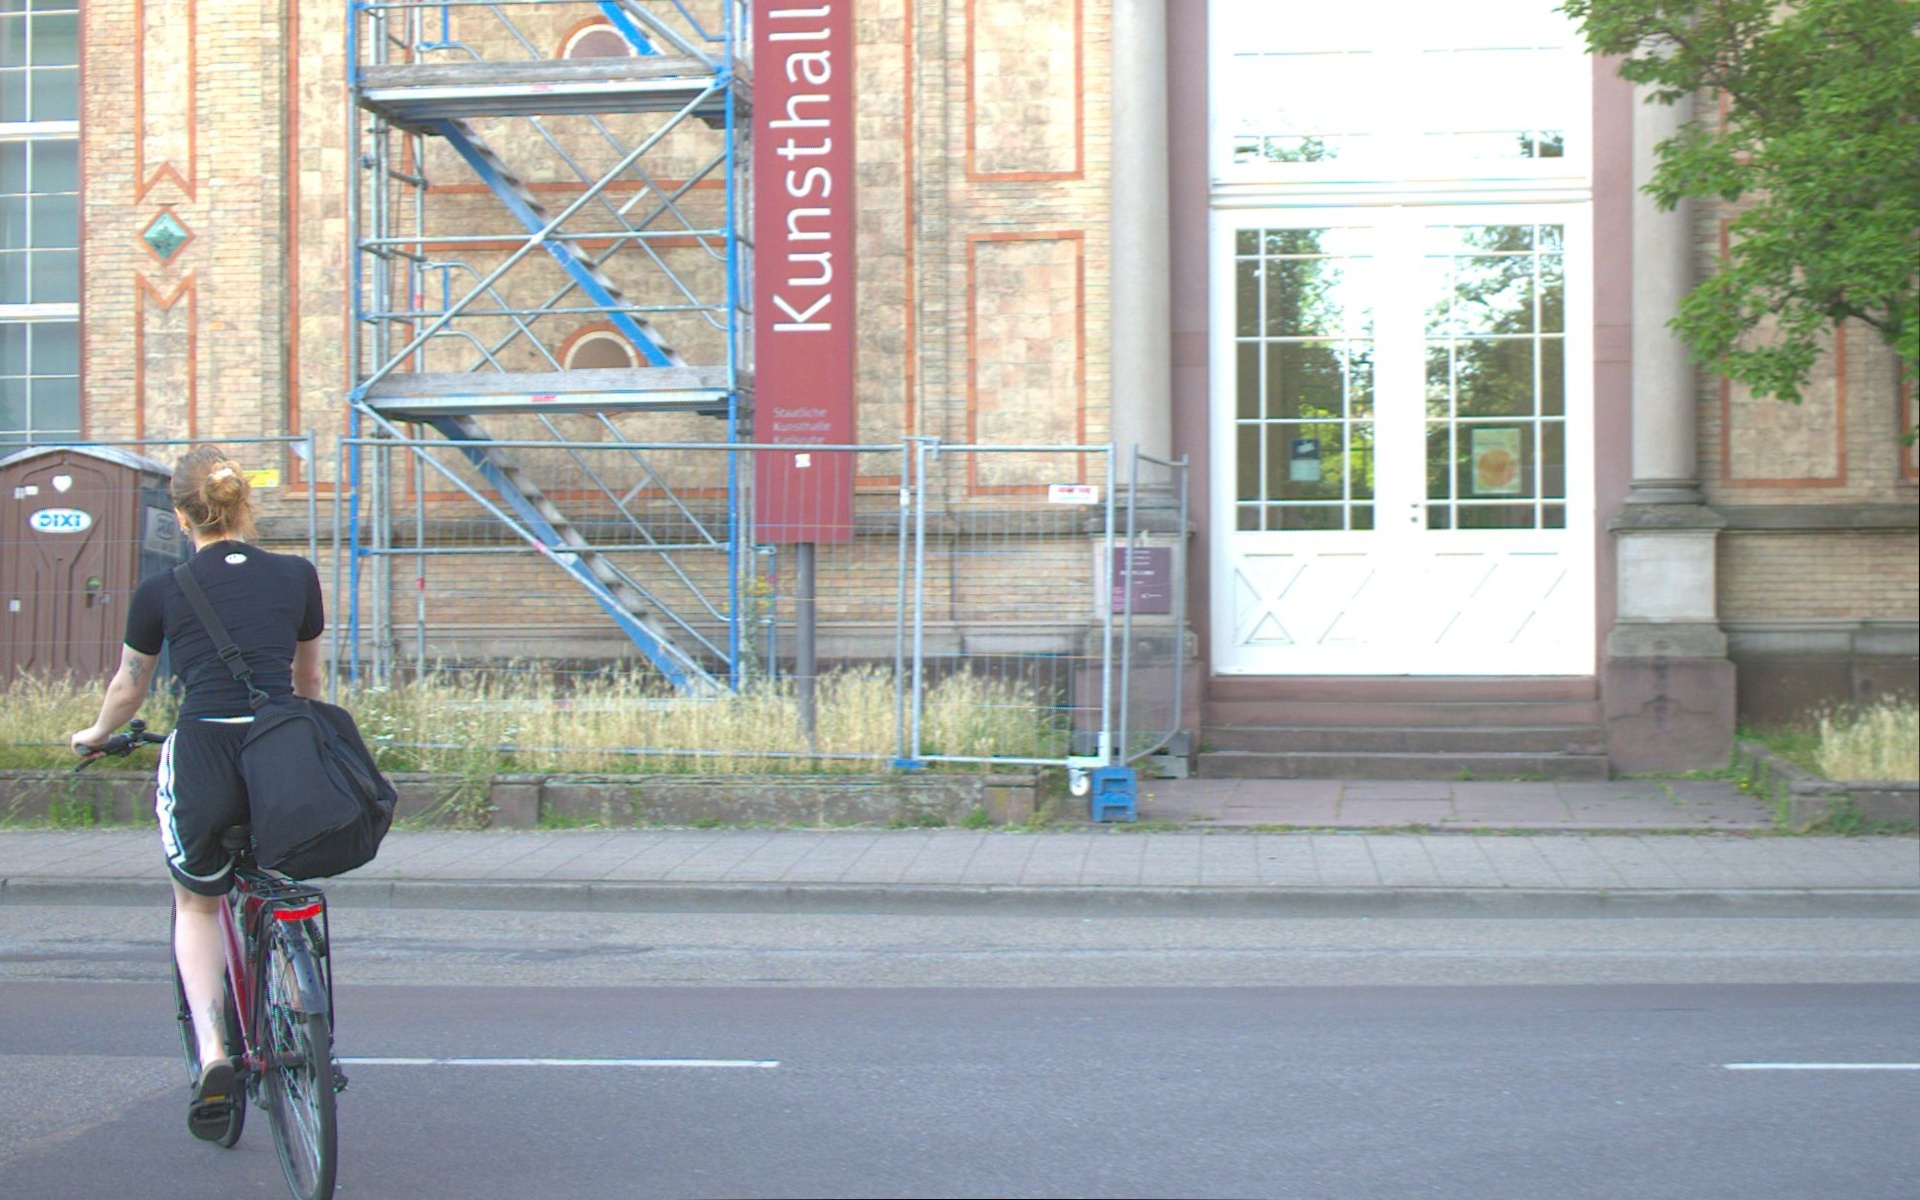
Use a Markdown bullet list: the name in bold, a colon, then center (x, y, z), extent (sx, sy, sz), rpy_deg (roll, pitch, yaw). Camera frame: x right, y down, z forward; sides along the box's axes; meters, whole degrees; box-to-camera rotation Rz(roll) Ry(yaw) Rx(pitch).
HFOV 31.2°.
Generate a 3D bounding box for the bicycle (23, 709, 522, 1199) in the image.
- **bicycle**: center (-1.711, 0.849, 8.277), extent (0.711, 1.152, 2.069), rpy_deg (1, -1, -25)

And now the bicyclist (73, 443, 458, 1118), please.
- **bicyclist**: center (-1.662, 0.412, 8.169), extent (0.716, 1.497, 0.851), rpy_deg (1, -2, -24)
